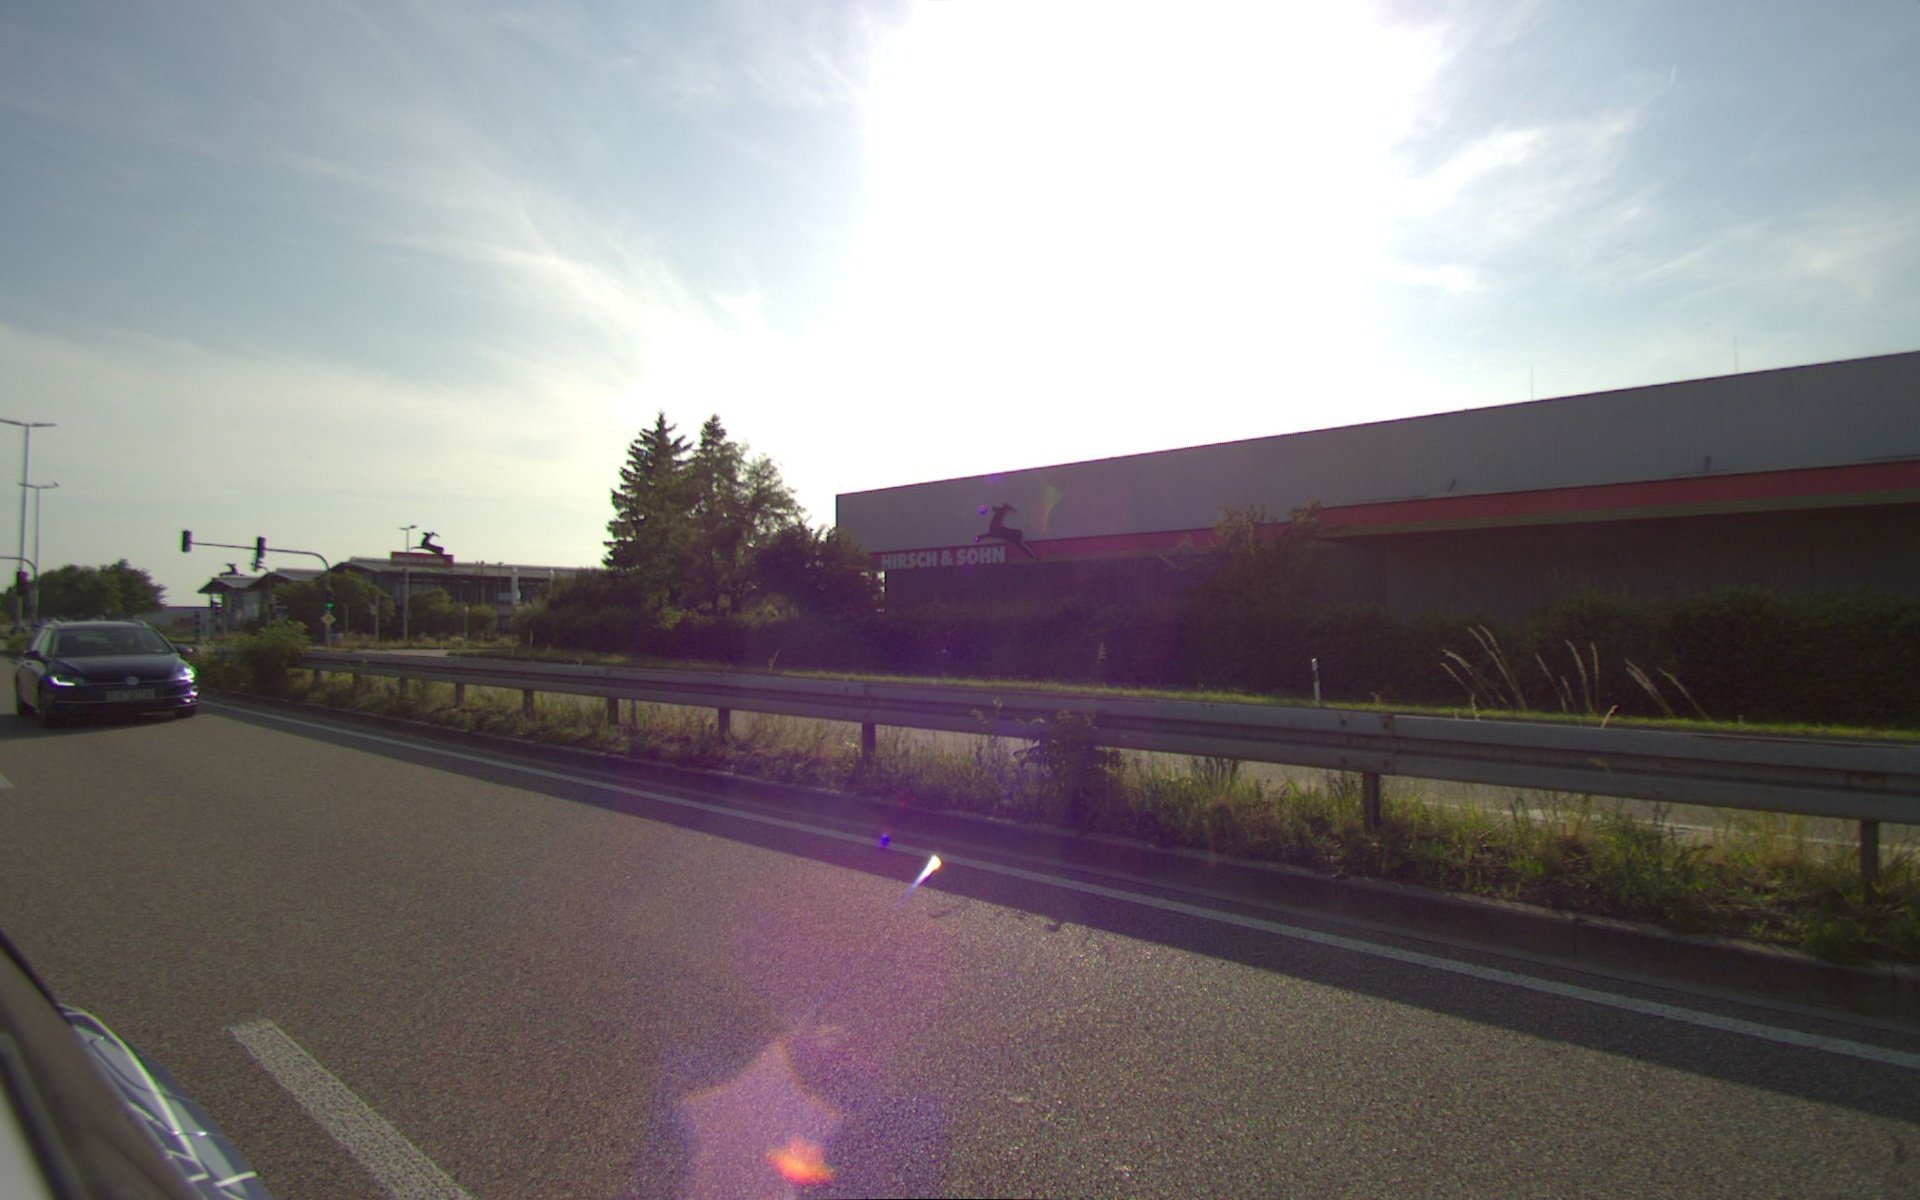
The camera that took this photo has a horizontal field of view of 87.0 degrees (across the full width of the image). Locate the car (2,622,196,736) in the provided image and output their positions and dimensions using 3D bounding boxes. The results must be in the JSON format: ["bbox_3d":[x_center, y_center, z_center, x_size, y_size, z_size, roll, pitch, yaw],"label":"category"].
[{"bbox_3d":[-13.312,1.114,15.537,4.774,1.482,1.629,-2,-2,42],"label":"car"}]
